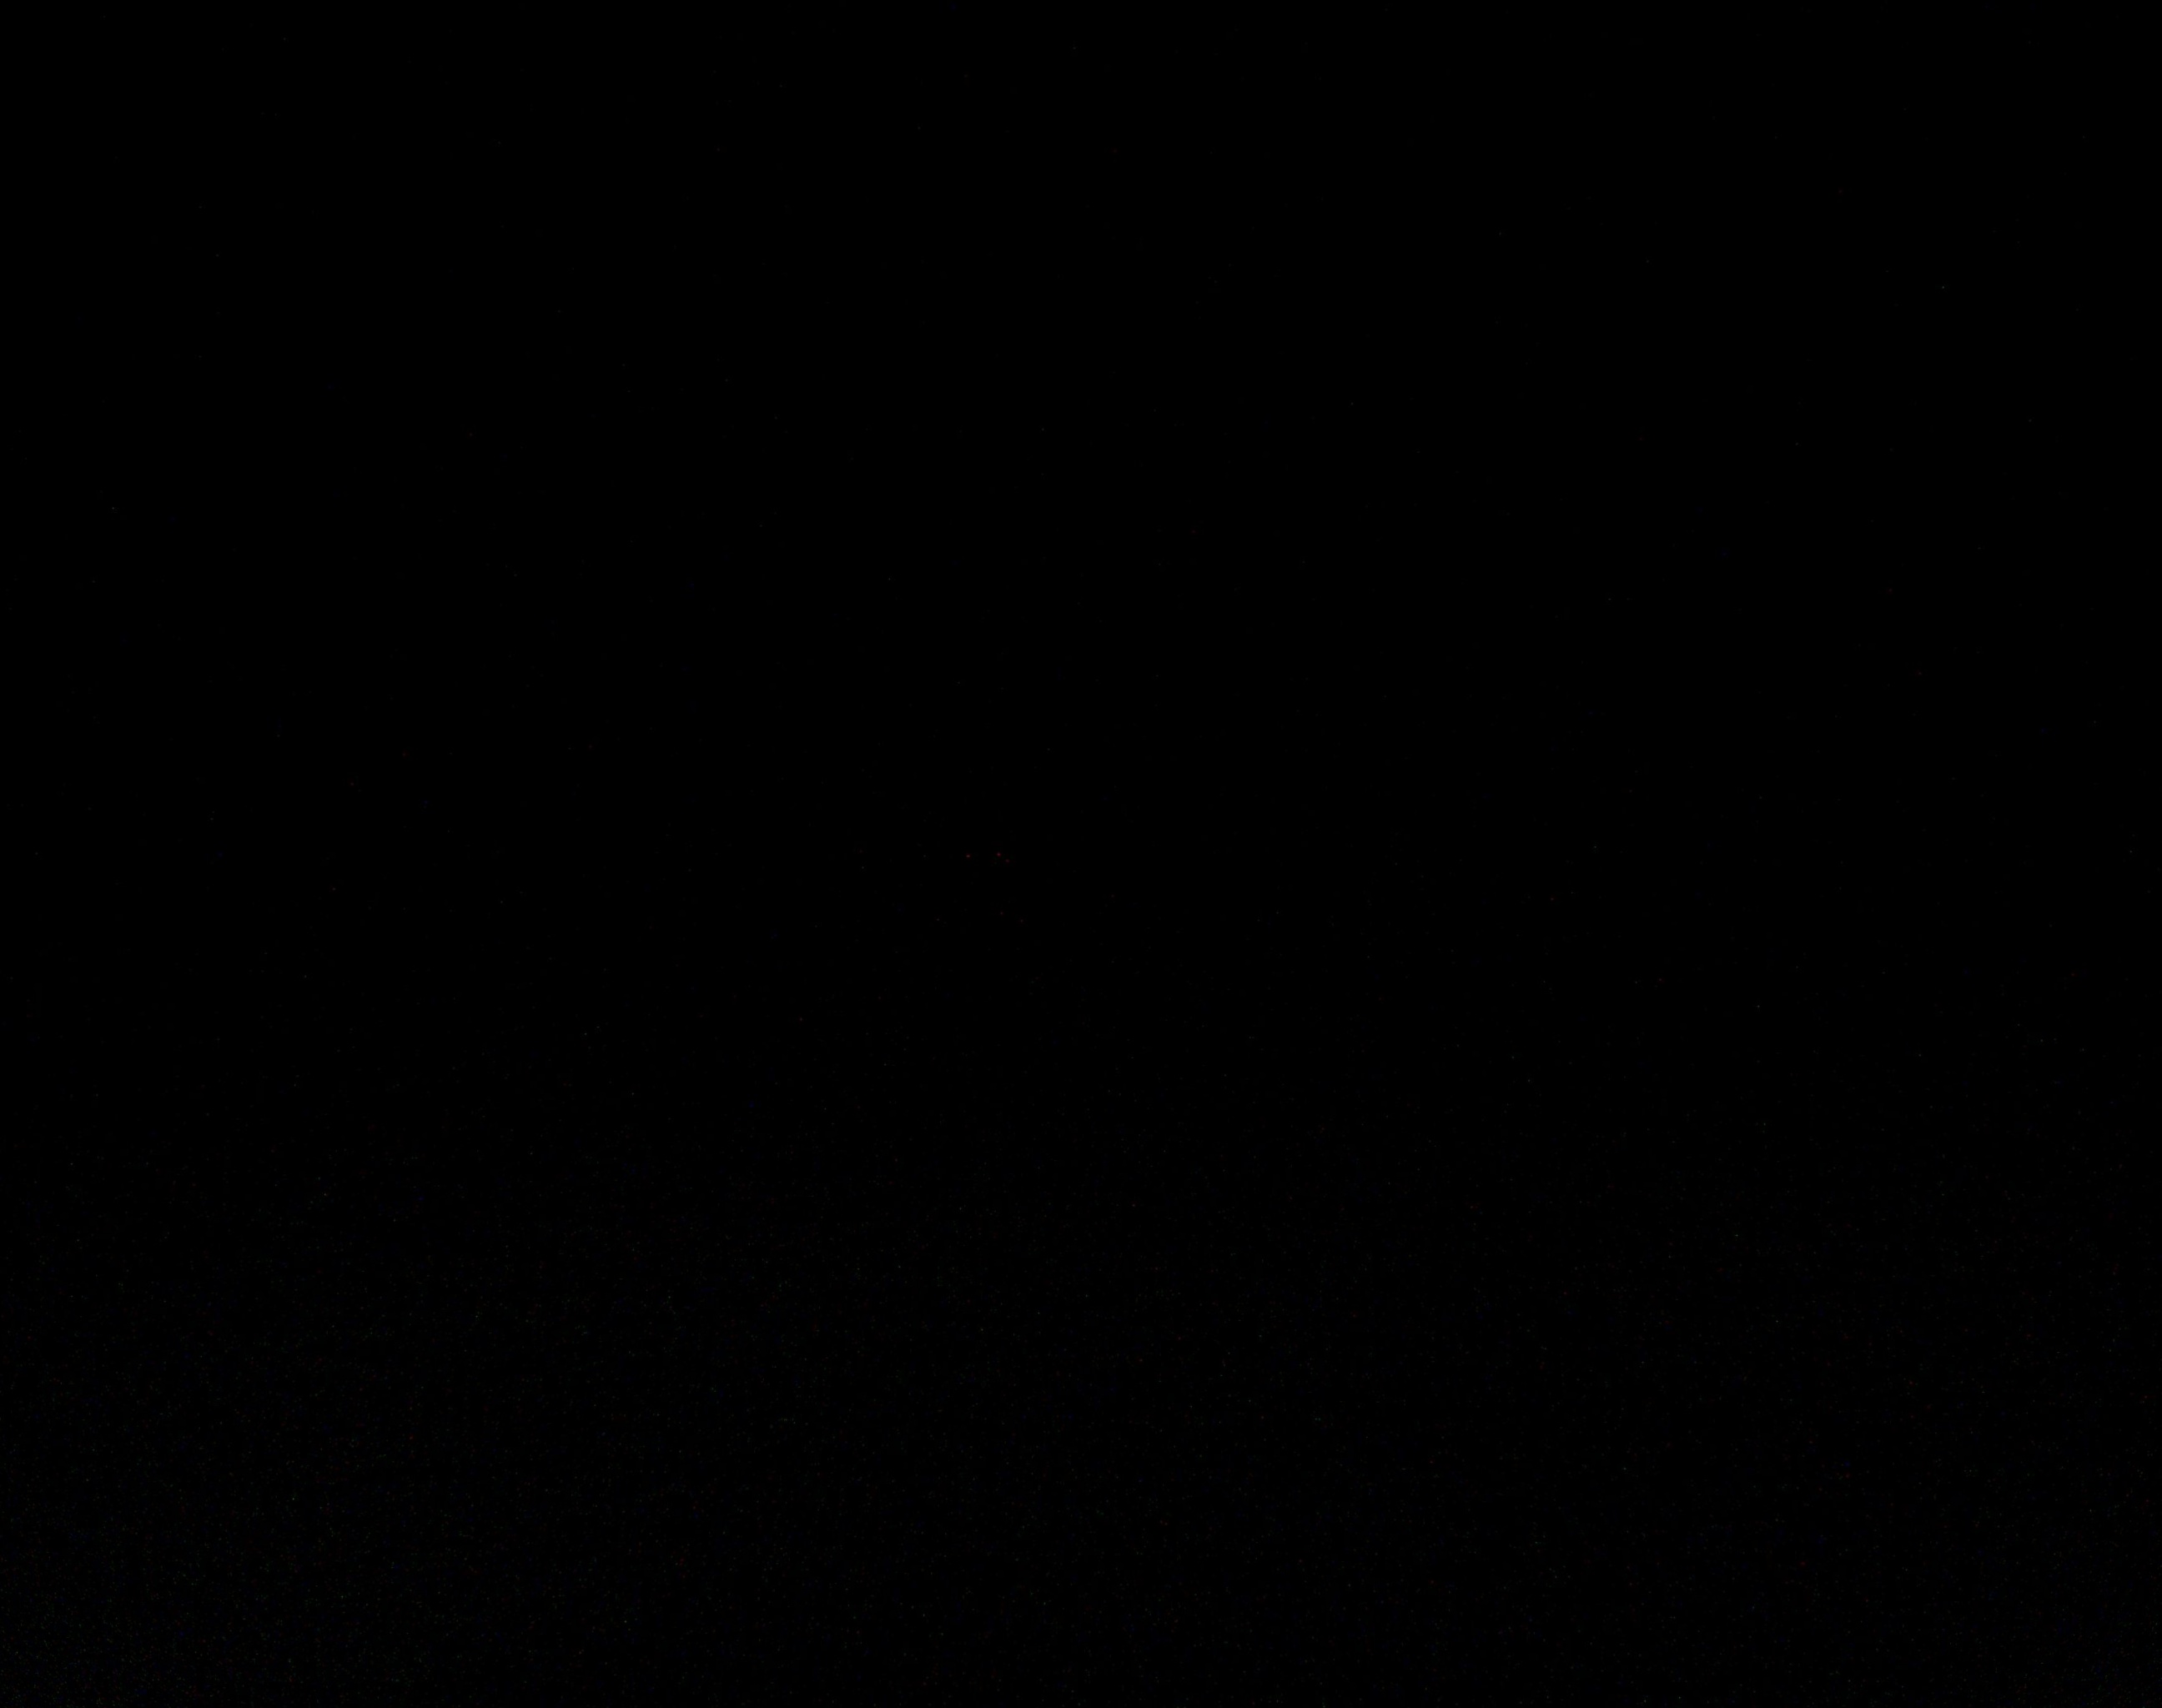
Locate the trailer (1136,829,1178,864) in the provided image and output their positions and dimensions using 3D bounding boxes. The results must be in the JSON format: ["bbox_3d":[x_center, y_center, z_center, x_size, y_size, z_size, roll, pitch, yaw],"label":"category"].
[{"bbox_3d":[8.896,-0.880,90.029,2.726,3.933,9.039,0,0,-9],"label":"trailer"}]

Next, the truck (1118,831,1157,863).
[{"bbox_3d":[7.262,-0.859,99.821,2.689,4.021,10.644,0,0,-9],"label":"truck"}]
